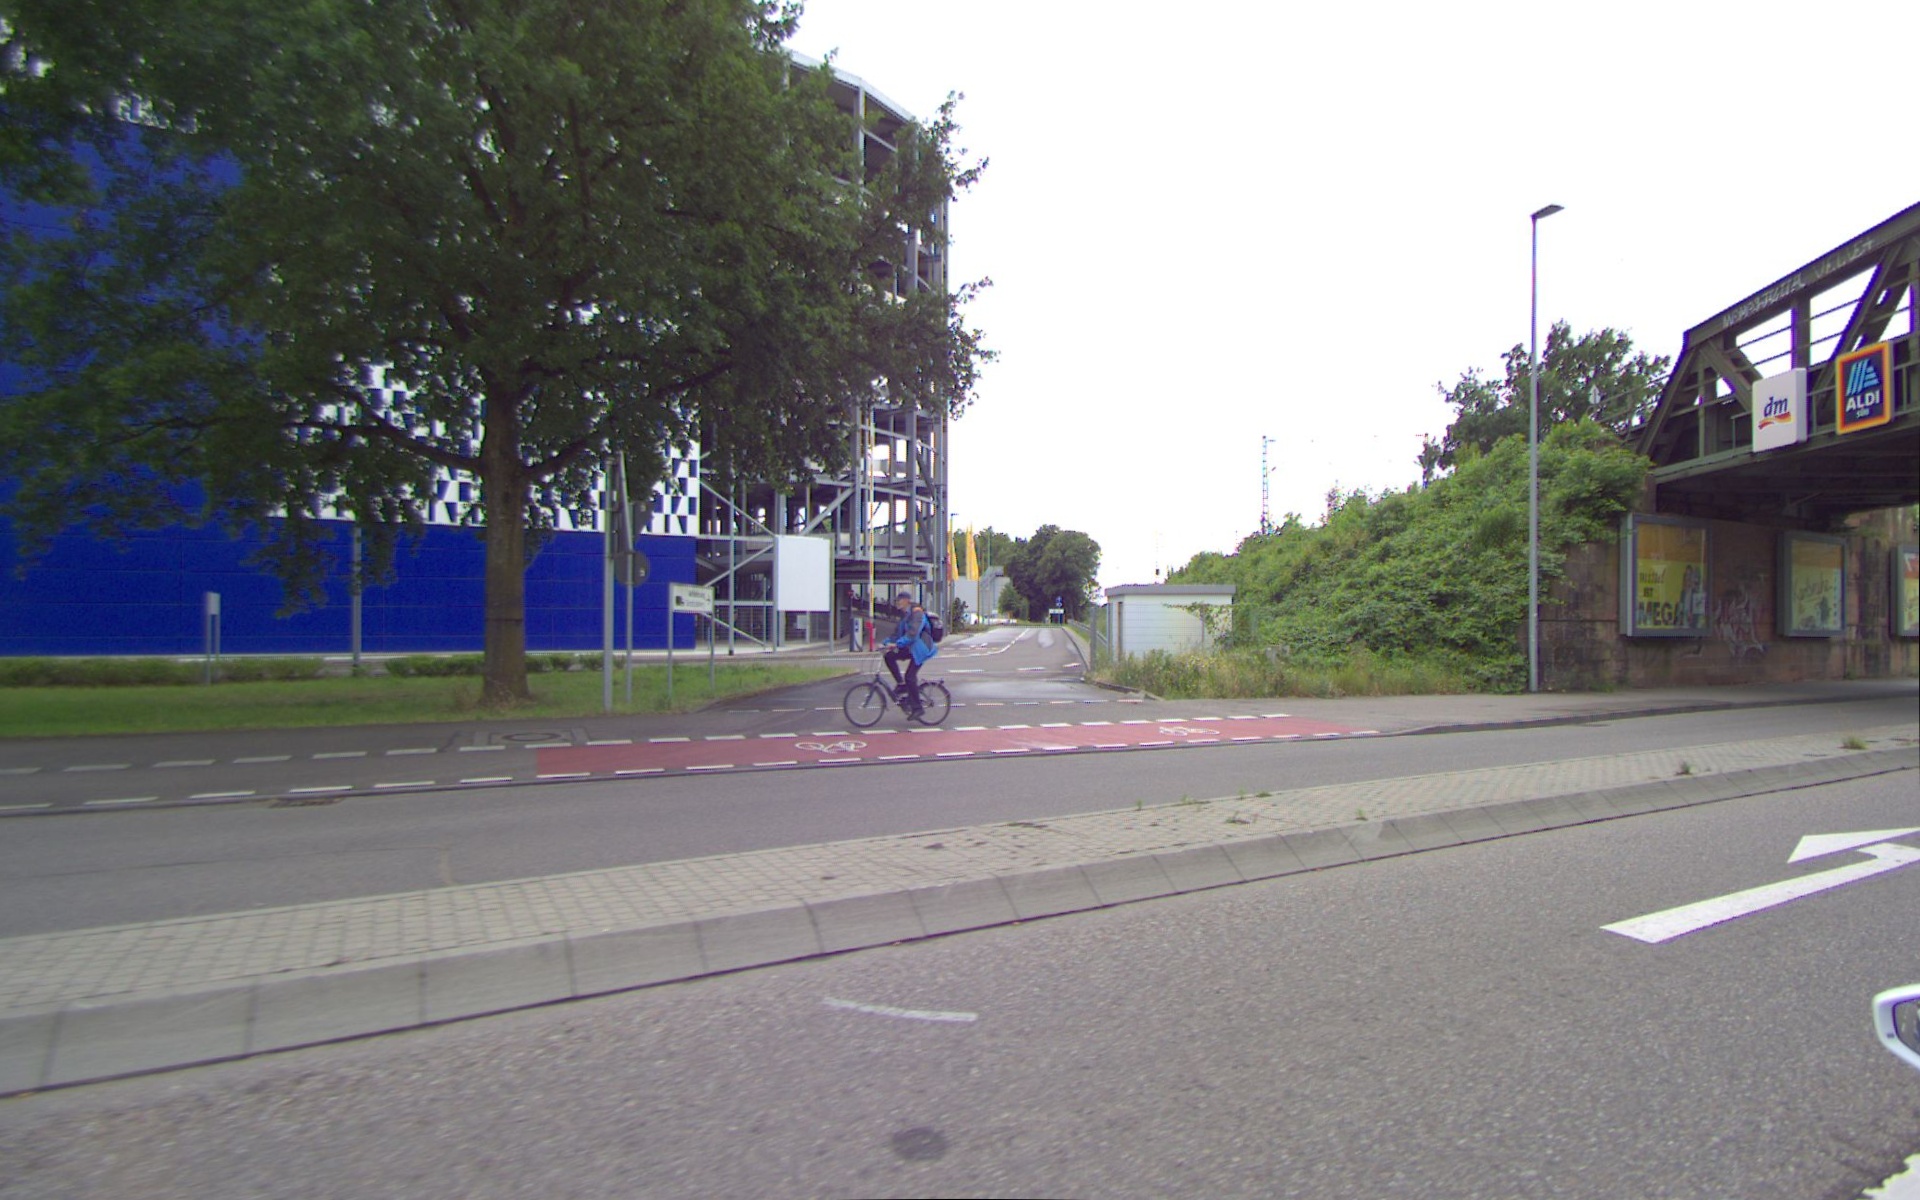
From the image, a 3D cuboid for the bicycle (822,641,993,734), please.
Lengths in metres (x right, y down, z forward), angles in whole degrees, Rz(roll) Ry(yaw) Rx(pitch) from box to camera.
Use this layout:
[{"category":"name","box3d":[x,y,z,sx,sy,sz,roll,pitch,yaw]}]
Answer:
[{"category":"bicycle","box3d":[-0.725,1.205,14.274,2.343,1.202,0.709,2,0,-30]}]

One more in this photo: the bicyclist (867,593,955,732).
[{"category":"bicyclist","box3d":[-0.701,0.861,14.271,1.008,1.899,0.698,1,0,-30]}]
